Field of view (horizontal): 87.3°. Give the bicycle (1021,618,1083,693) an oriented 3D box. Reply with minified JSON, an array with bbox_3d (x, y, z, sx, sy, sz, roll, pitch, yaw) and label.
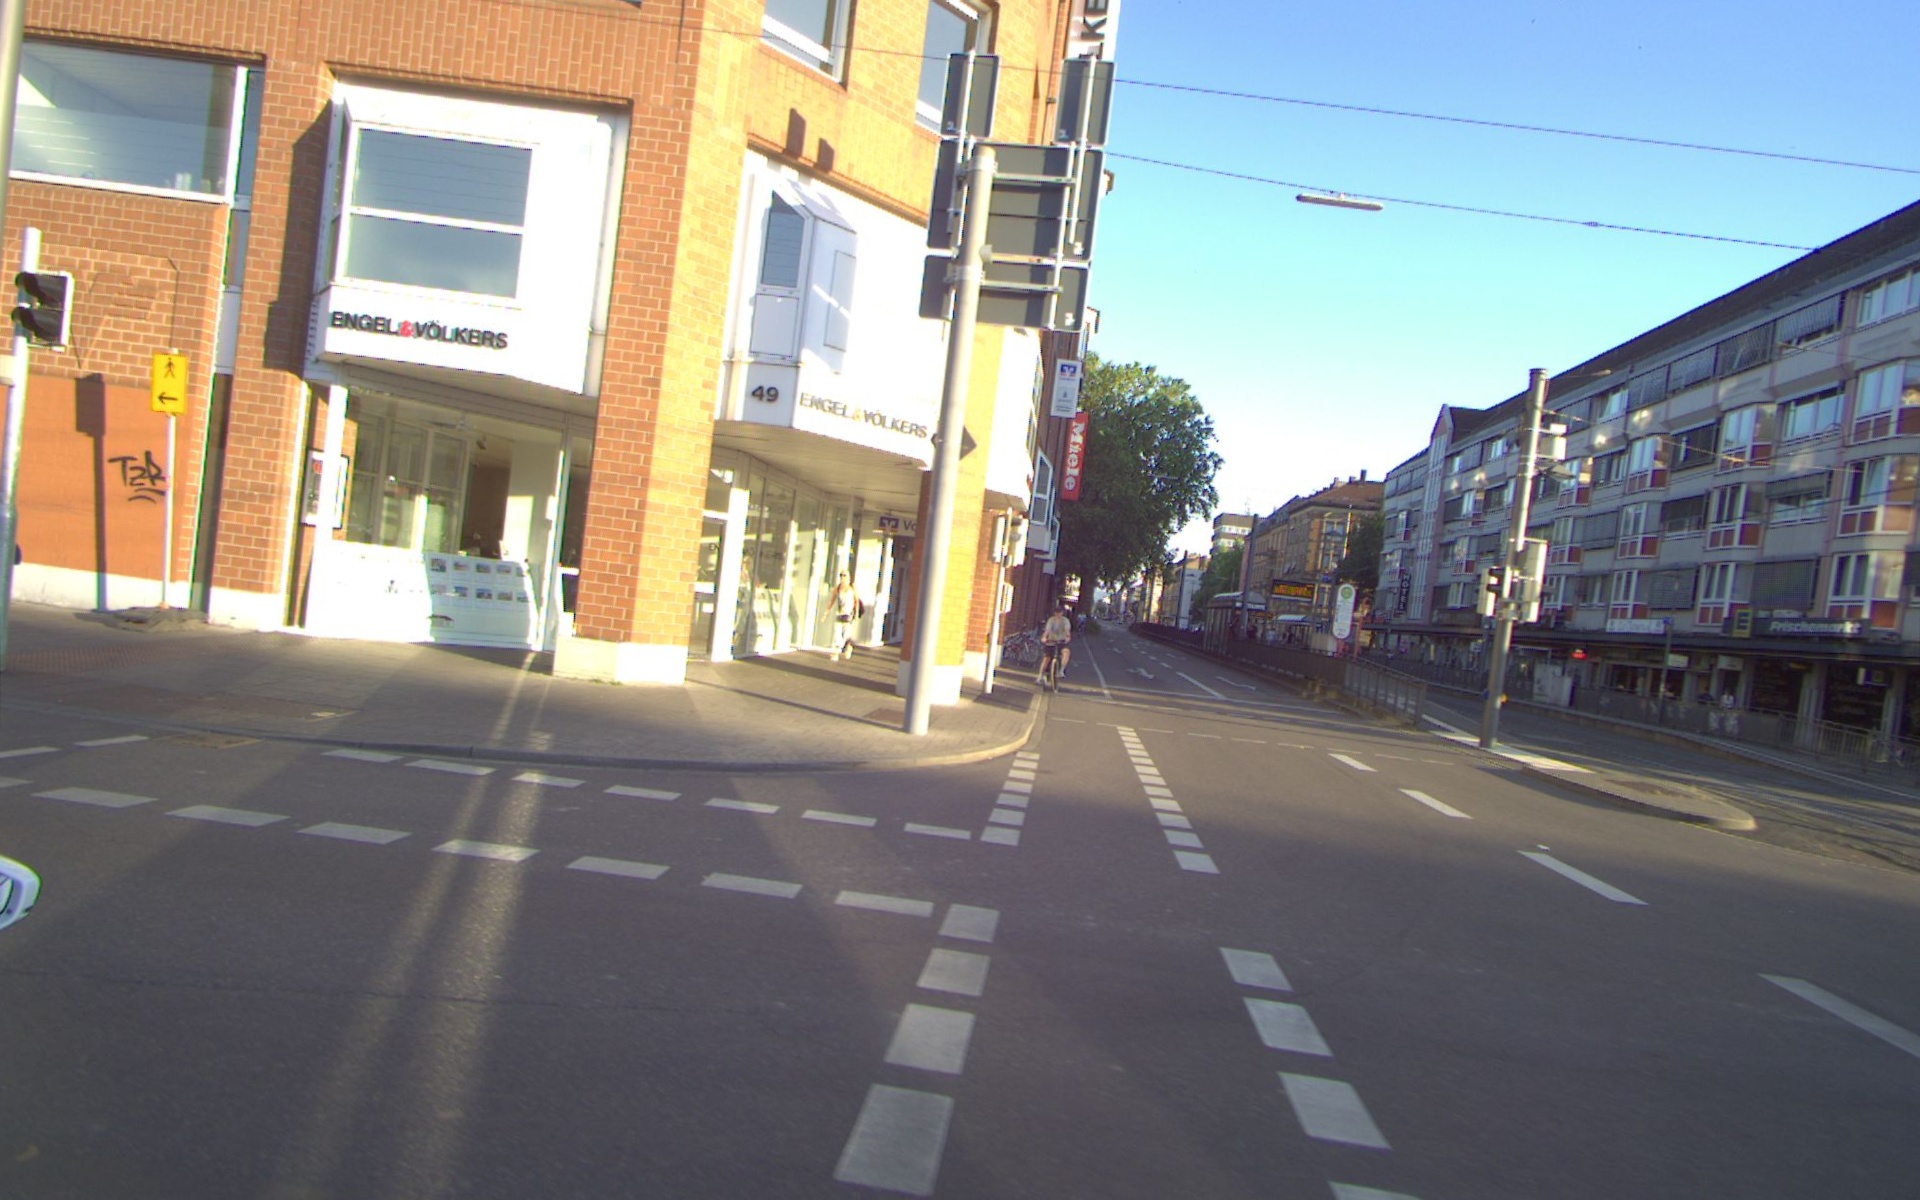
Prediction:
[{"bbox_3d":[1.907,1.123,21.315,0.999,1.306,2.797,11,0,3],"label":"bicycle"}]

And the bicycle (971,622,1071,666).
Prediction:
[{"bbox_3d":[1.698,1.229,28.275,2.688,0.874,0.812,7,0,3],"label":"bicycle"}]

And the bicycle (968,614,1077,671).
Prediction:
[{"bbox_3d":[1.639,1.101,26.189,2.687,1.116,0.813,7,1,7],"label":"bicycle"}]

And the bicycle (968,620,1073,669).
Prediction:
[{"bbox_3d":[1.643,1.189,27.135,2.687,0.984,0.813,7,0,6],"label":"bicycle"}]

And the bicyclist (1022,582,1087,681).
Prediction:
[{"bbox_3d":[1.981,0.655,21.320,0.996,1.883,1.234,10,1,3],"label":"bicyclist"}]

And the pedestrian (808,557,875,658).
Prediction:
[{"bbox_3d":[-2.265,0.142,19.349,0.798,1.774,0.930,10,2,8],"label":"pedestrian"}]
